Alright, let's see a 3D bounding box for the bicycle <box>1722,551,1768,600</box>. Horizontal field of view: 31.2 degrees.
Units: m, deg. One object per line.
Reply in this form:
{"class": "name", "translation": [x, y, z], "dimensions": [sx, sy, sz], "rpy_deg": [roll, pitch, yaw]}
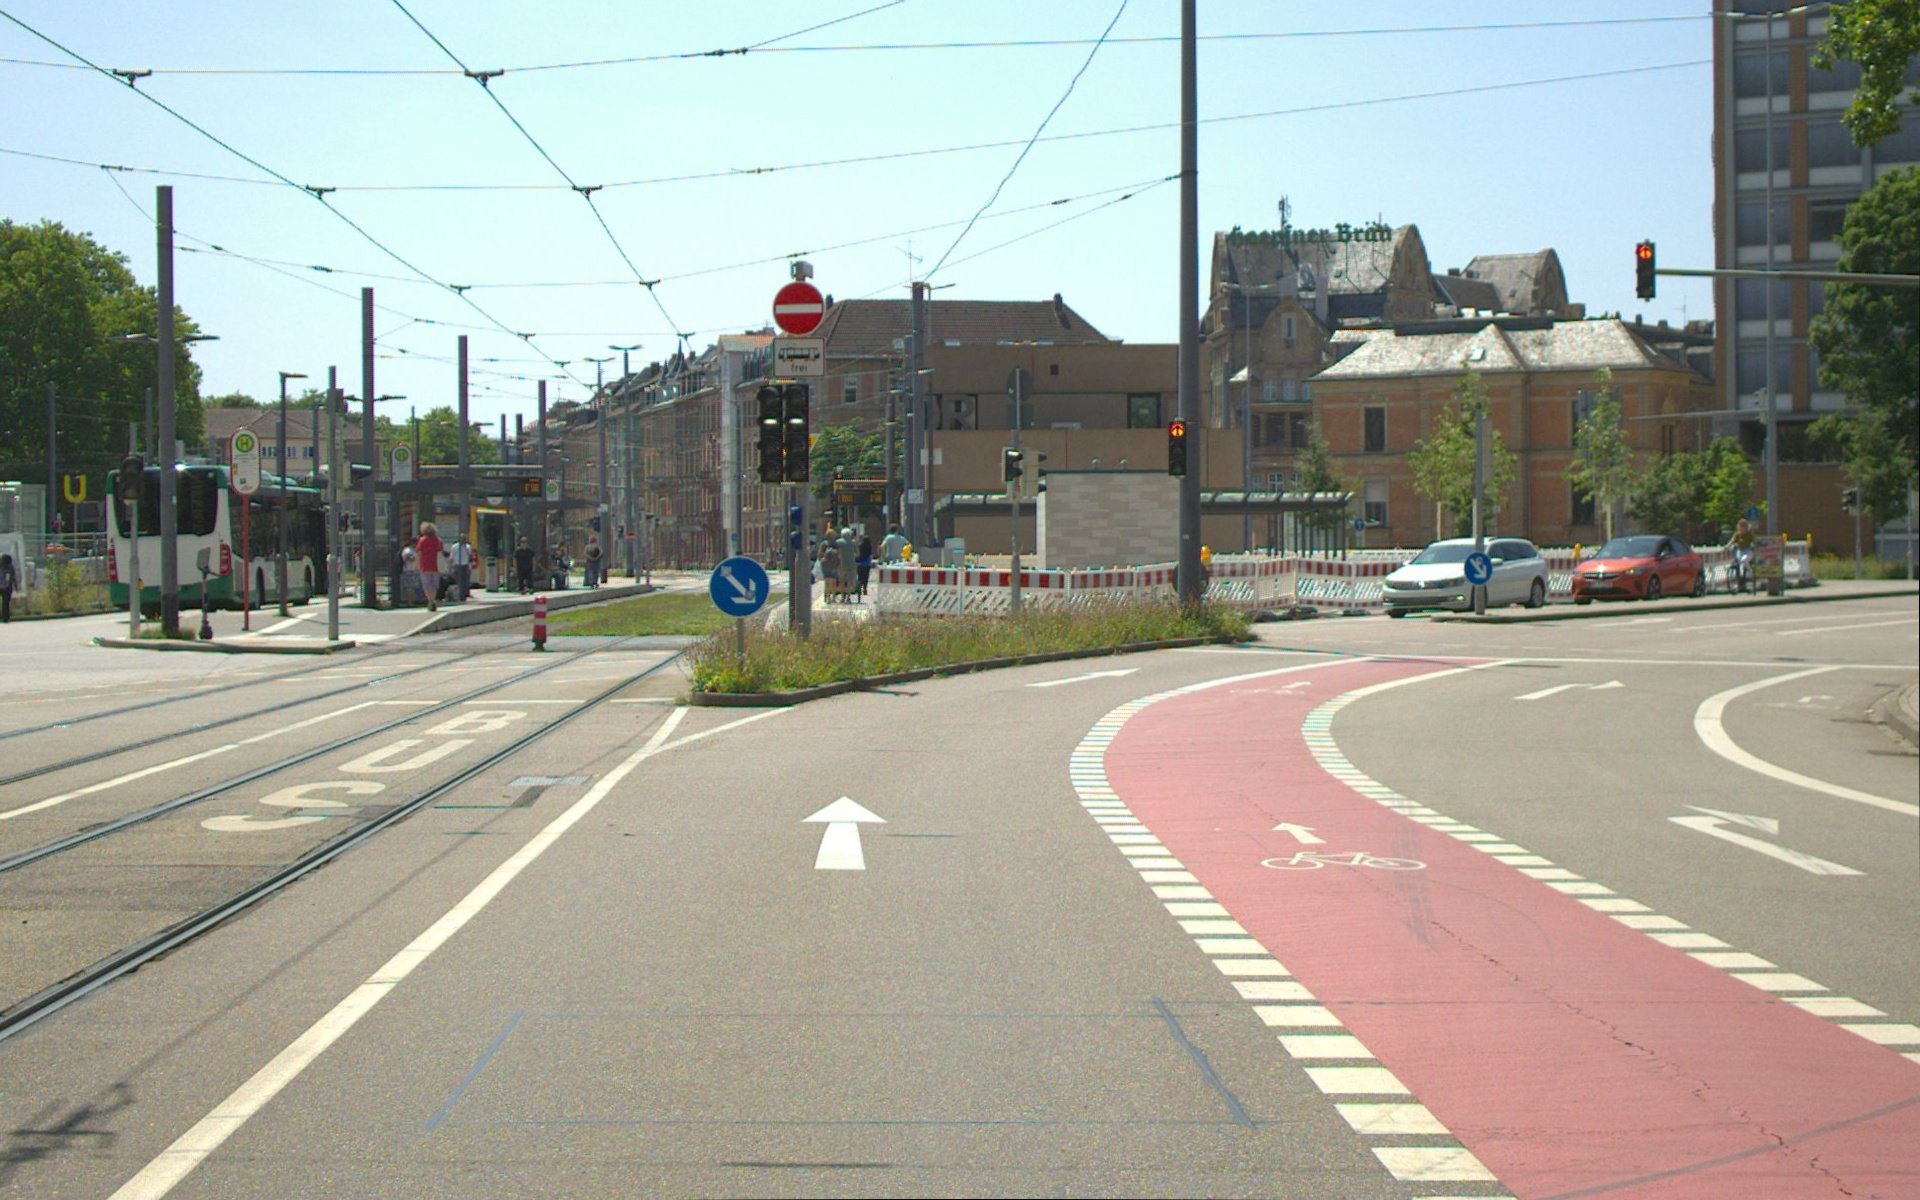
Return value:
{"class": "bicycle", "translation": [19.000, -0.588, 83.204], "dimensions": [0.398, 1.170, 1.767], "rpy_deg": [0, 0, 36]}

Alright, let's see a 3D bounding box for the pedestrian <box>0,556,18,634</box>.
{"class": "pedestrian", "translation": [-20.994, -0.114, 75.407], "dimensions": [0.566, 1.699, 0.397], "rpy_deg": [-1, 1, -8]}

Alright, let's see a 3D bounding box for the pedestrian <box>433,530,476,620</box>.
{"class": "pedestrian", "translation": [-11.881, -0.597, 80.781], "dimensions": [0.899, 2.089, 0.832], "rpy_deg": [-1, 1, -12]}

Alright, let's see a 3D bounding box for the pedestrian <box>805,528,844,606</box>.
{"class": "pedestrian", "translation": [-2.959, -0.723, 75.062], "dimensions": [0.726, 1.701, 0.744], "rpy_deg": [0, 0, -13]}

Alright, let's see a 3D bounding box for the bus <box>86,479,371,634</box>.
{"class": "bus", "translation": [-16.465, -1.026, 79.114], "dimensions": [3.010, 3.147, 17.499], "rpy_deg": [-1, 1, -1]}

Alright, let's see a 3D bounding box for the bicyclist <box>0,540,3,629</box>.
{"class": "bicyclist", "translation": [-18.831, -0.297, 65.828], "dimensions": [0.820, 1.704, 0.771], "rpy_deg": [-1, 1, -5]}

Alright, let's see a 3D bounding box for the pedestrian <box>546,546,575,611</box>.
{"class": "pedestrian", "translation": [-12.921, -0.695, 111.076], "dimensions": [0.829, 2.089, 0.902], "rpy_deg": [-1, 1, -2]}

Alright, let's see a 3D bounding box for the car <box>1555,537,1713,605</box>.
{"class": "car", "translation": [14.335, -0.621, 72.964], "dimensions": [1.734, 1.420, 4.115], "rpy_deg": [0, 1, 35]}

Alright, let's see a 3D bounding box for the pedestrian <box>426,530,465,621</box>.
{"class": "pedestrian", "translation": [-11.946, -0.567, 79.829], "dimensions": [0.823, 2.089, 0.642], "rpy_deg": [-1, 1, -12]}

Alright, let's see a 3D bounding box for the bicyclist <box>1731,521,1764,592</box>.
{"class": "bicyclist", "translation": [19.046, -1.055, 83.162], "dimensions": [0.568, 1.713, 0.506], "rpy_deg": [-1, 1, 40]}

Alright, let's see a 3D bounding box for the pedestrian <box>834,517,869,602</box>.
{"class": "pedestrian", "translation": [-2.442, -0.905, 77.192], "dimensions": [0.719, 1.917, 1.074], "rpy_deg": [0, 0, -6]}

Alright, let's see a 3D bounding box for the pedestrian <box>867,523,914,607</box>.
{"class": "pedestrian", "translation": [-1.547, -0.782, 76.894], "dimensions": [0.765, 1.858, 0.730], "rpy_deg": [0, 0, -42]}

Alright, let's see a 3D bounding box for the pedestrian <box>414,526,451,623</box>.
{"class": "pedestrian", "translation": [-10.479, -0.516, 68.325], "dimensions": [0.672, 1.903, 0.641], "rpy_deg": [-1, 1, -11]}

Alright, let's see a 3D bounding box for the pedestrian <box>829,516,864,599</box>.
{"class": "pedestrian", "translation": [-2.516, -0.941, 76.169], "dimensions": [0.657, 1.825, 0.760], "rpy_deg": [-1, 1, -8]}

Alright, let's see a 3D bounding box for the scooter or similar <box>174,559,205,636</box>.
{"class": "scooter or similar", "translation": [-12.278, -0.048, 54.809], "dimensions": [0.318, 1.202, 1.249], "rpy_deg": [-1, 1, -6]}

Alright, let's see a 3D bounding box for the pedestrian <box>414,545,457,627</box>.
{"class": "pedestrian", "translation": [-11.853, -0.324, 77.623], "dimensions": [0.911, 1.845, 0.658], "rpy_deg": [-1, 1, -11]}

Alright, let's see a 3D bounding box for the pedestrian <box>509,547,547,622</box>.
{"class": "pedestrian", "translation": [-12.220, -0.445, 97.207], "dimensions": [0.899, 2.089, 0.831], "rpy_deg": [-1, 1, 4]}

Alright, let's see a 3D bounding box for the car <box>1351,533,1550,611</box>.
{"class": "car", "translation": [9.409, -0.548, 65.652], "dimensions": [1.997, 1.433, 4.697], "rpy_deg": [0, 1, 33]}

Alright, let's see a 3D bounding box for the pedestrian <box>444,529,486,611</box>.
{"class": "pedestrian", "translation": [-12.854, -0.780, 89.293], "dimensions": [0.899, 2.089, 0.831], "rpy_deg": [-1, 1, 4]}
